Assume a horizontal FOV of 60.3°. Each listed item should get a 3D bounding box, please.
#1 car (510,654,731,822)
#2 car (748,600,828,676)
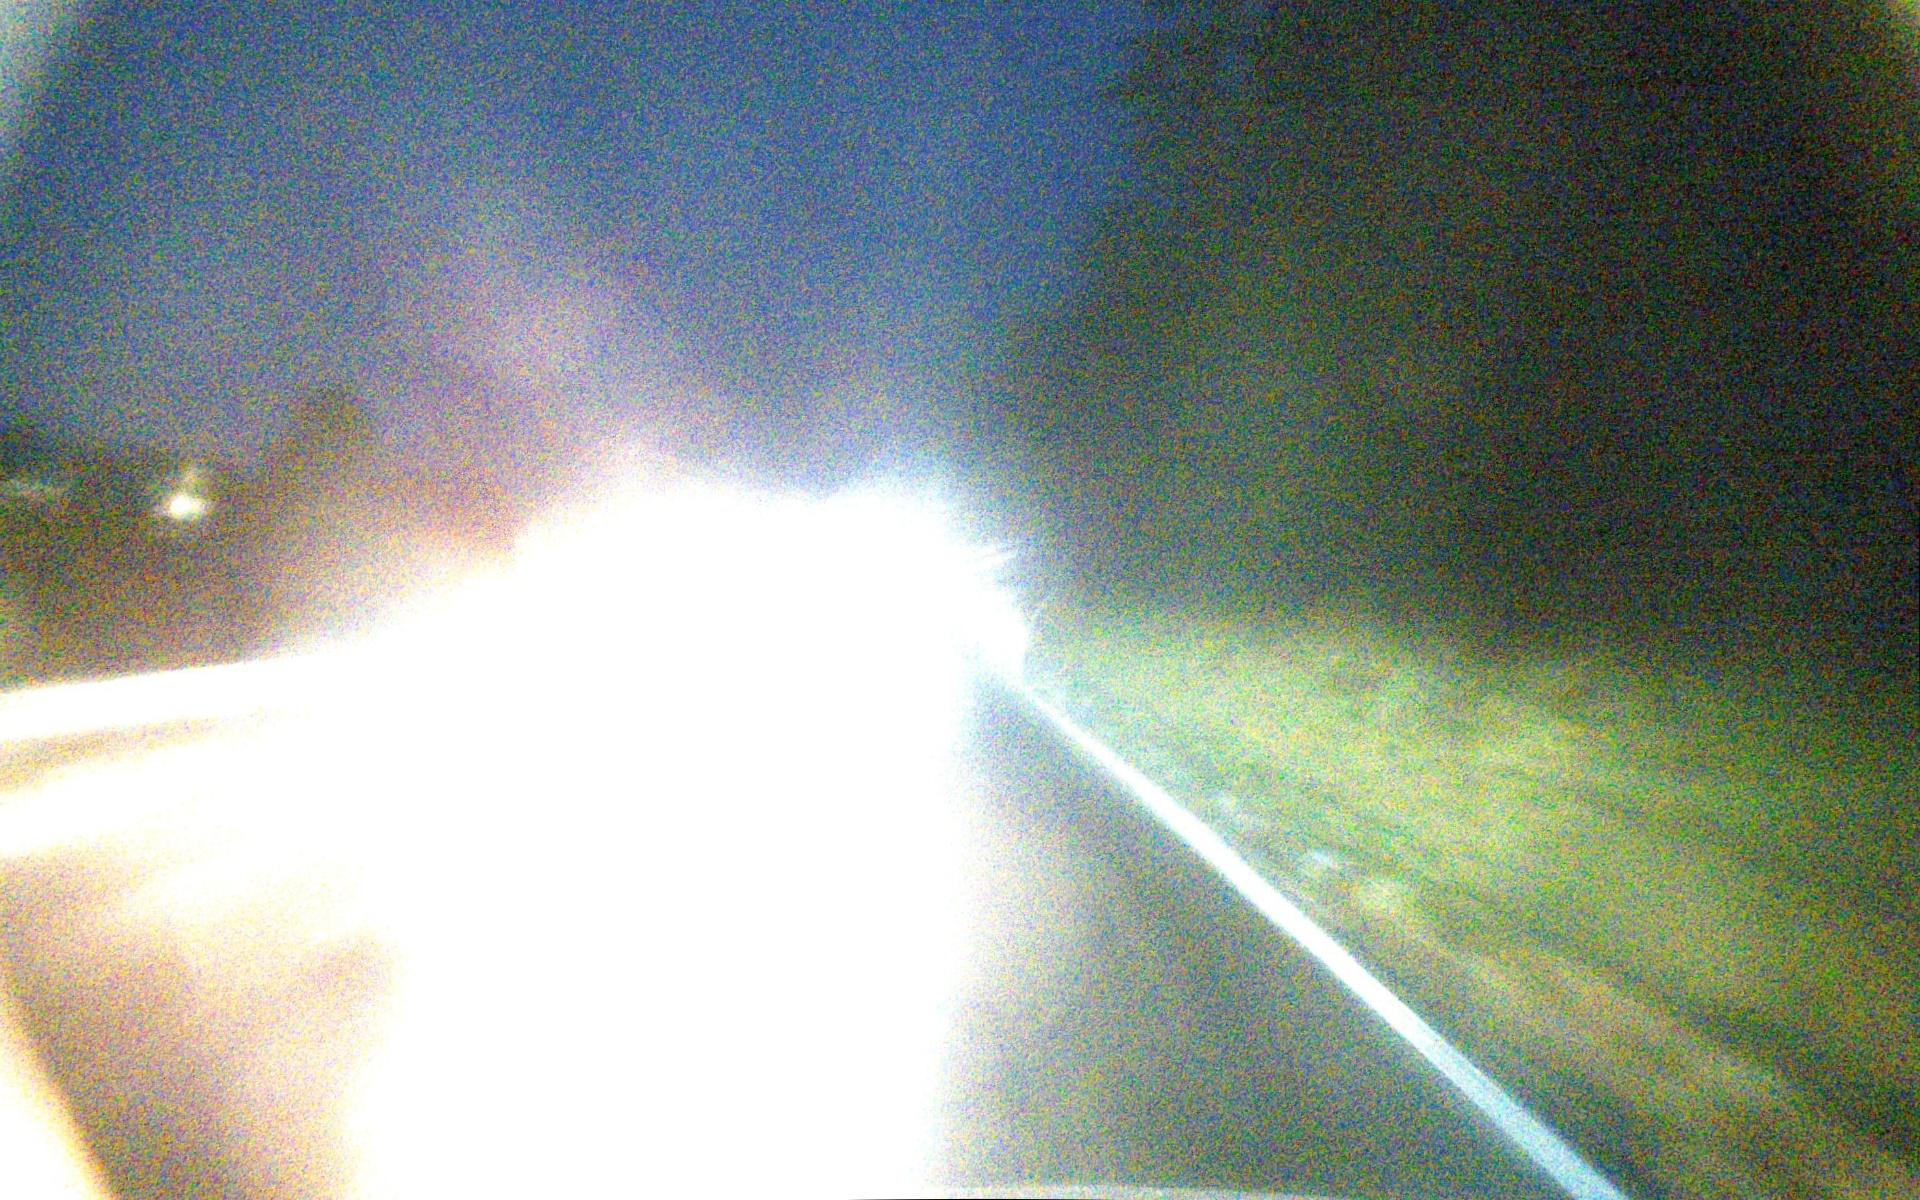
[{"bbox_3d":[-4.006,1.582,20.239,1.887,1.602,4.346,1,1,-1],"label":"car"},{"bbox_3d":[-5.052,1.071,48.214,1.958,2.049,3.989,1,1,-11],"label":"car"}]
